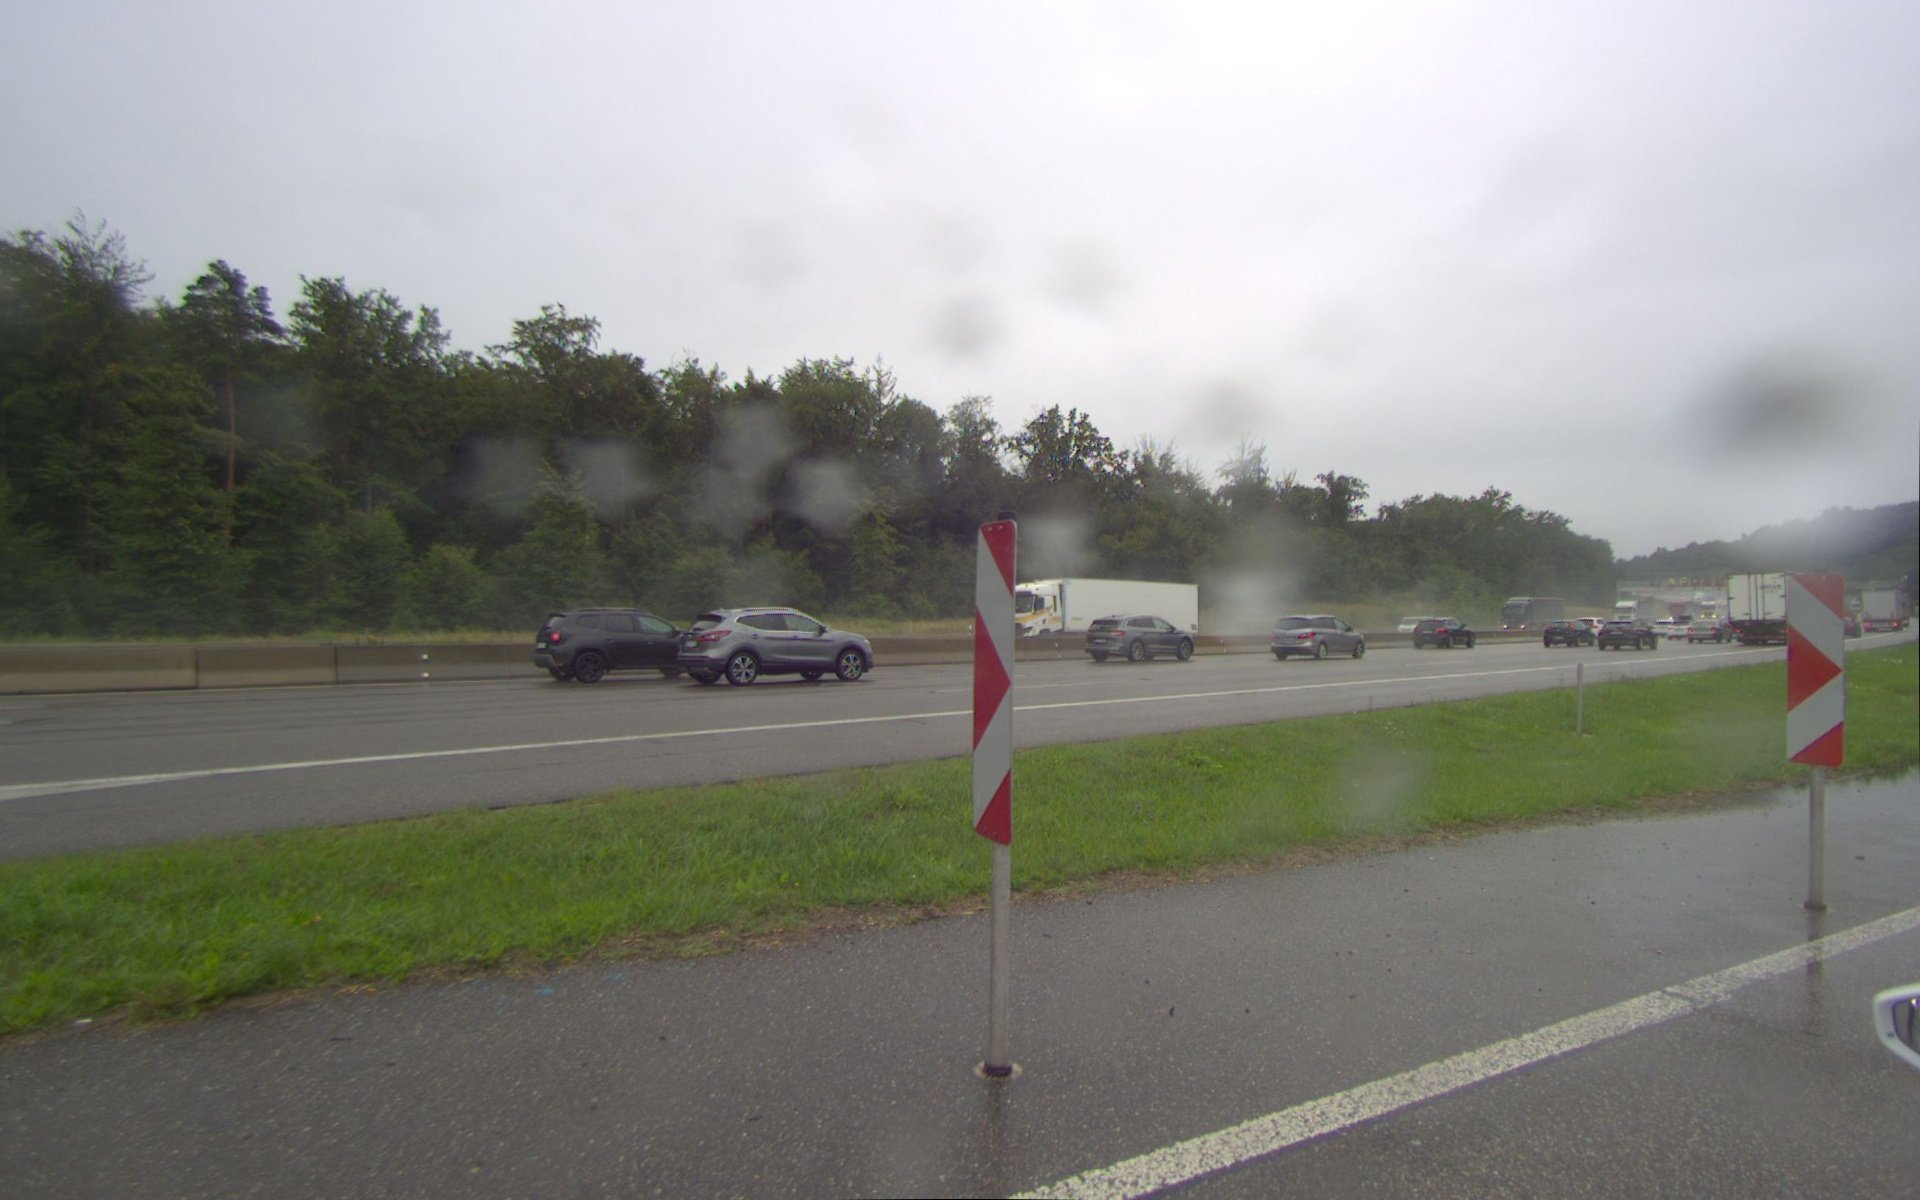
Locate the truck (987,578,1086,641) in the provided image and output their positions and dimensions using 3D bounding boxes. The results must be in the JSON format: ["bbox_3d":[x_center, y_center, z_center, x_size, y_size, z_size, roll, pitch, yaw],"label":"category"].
[{"bbox_3d":[4.486,0.597,58.195,5.560,3.497,2.622,1,-1,-43],"label":"truck"}]

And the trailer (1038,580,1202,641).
[{"bbox_3d":[10.446,0.737,63.693,13.388,3.543,2.624,1,-1,-43],"label":"trailer"}]

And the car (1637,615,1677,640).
[{"bbox_3d":[59.544,2.368,85.836,3.971,2.040,1.975,1,-2,-43],"label":"car"}]

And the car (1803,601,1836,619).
[{"bbox_3d":[90.769,1.043,106.031,3.968,1.840,1.976,1,1,-40],"label":"car"}]

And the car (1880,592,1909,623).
[{"bbox_3d":[114.046,0.938,122.588,2.346,3.532,4.787,3,2,43],"label":"car"}]

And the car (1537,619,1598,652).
[{"bbox_3d":[33.375,1.912,55.127,4.068,1.759,1.760,1,-2,-41],"label":"car"}]

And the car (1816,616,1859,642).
[{"bbox_3d":[65.157,2.152,74.573,3.971,1.840,1.975,1,-1,-43],"label":"car"}]

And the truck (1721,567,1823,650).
[{"bbox_3d":[47.075,0.650,58.044,11.758,4.348,2.823,2,-3,-43],"label":"truck"}]

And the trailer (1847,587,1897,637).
[{"bbox_3d":[91.309,1.318,100.560,3.510,4.673,12.052,-1,-2,43],"label":"trailer"}]

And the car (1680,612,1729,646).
[{"bbox_3d":[46.741,1.808,63.057,4.304,1.997,1.771,1,-1,-43],"label":"car"}]

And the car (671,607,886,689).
[{"bbox_3d":[-3.823,0.990,21.563,4.299,1.595,1.704,1,-2,-40],"label":"car"}]

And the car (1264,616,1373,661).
[{"bbox_3d":[13.069,1.374,36.557,4.297,1.547,1.774,1,-2,-39],"label":"car"}]

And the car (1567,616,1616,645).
[{"bbox_3d":[45.013,2.184,71.574,3.971,2.040,1.975,2,-2,-42],"label":"car"}]

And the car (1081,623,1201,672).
[{"bbox_3d":[6.398,1.637,35.272,4.421,1.594,1.705,1,-2,-39],"label":"car"}]

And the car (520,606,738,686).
[{"bbox_3d":[-7.603,1.034,23.342,4.427,1.685,1.908,1,-2,-43],"label":"car"}]

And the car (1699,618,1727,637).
[{"bbox_3d":[77.639,2.834,103.556,3.760,1.811,1.681,1,0,-44],"label":"car"}]

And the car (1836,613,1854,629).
[{"bbox_3d":[125.418,2.989,142.321,1.655,2.040,3.980,8,4,41],"label":"car"}]

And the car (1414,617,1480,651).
[{"bbox_3d":[26.260,1.799,54.111,4.069,1.759,1.760,1,-2,-42],"label":"car"}]

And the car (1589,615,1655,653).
[{"bbox_3d":[31.858,1.623,48.296,3.818,1.759,1.760,1,-2,-42],"label":"car"}]

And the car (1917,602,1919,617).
[{"bbox_3d":[131.713,1.323,136.536,1.970,2.041,3.980,3,2,41],"label":"car"}]

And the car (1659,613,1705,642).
[{"bbox_3d":[53.782,2.031,74.769,3.971,2.041,1.975,1,1,-43],"label":"car"}]
